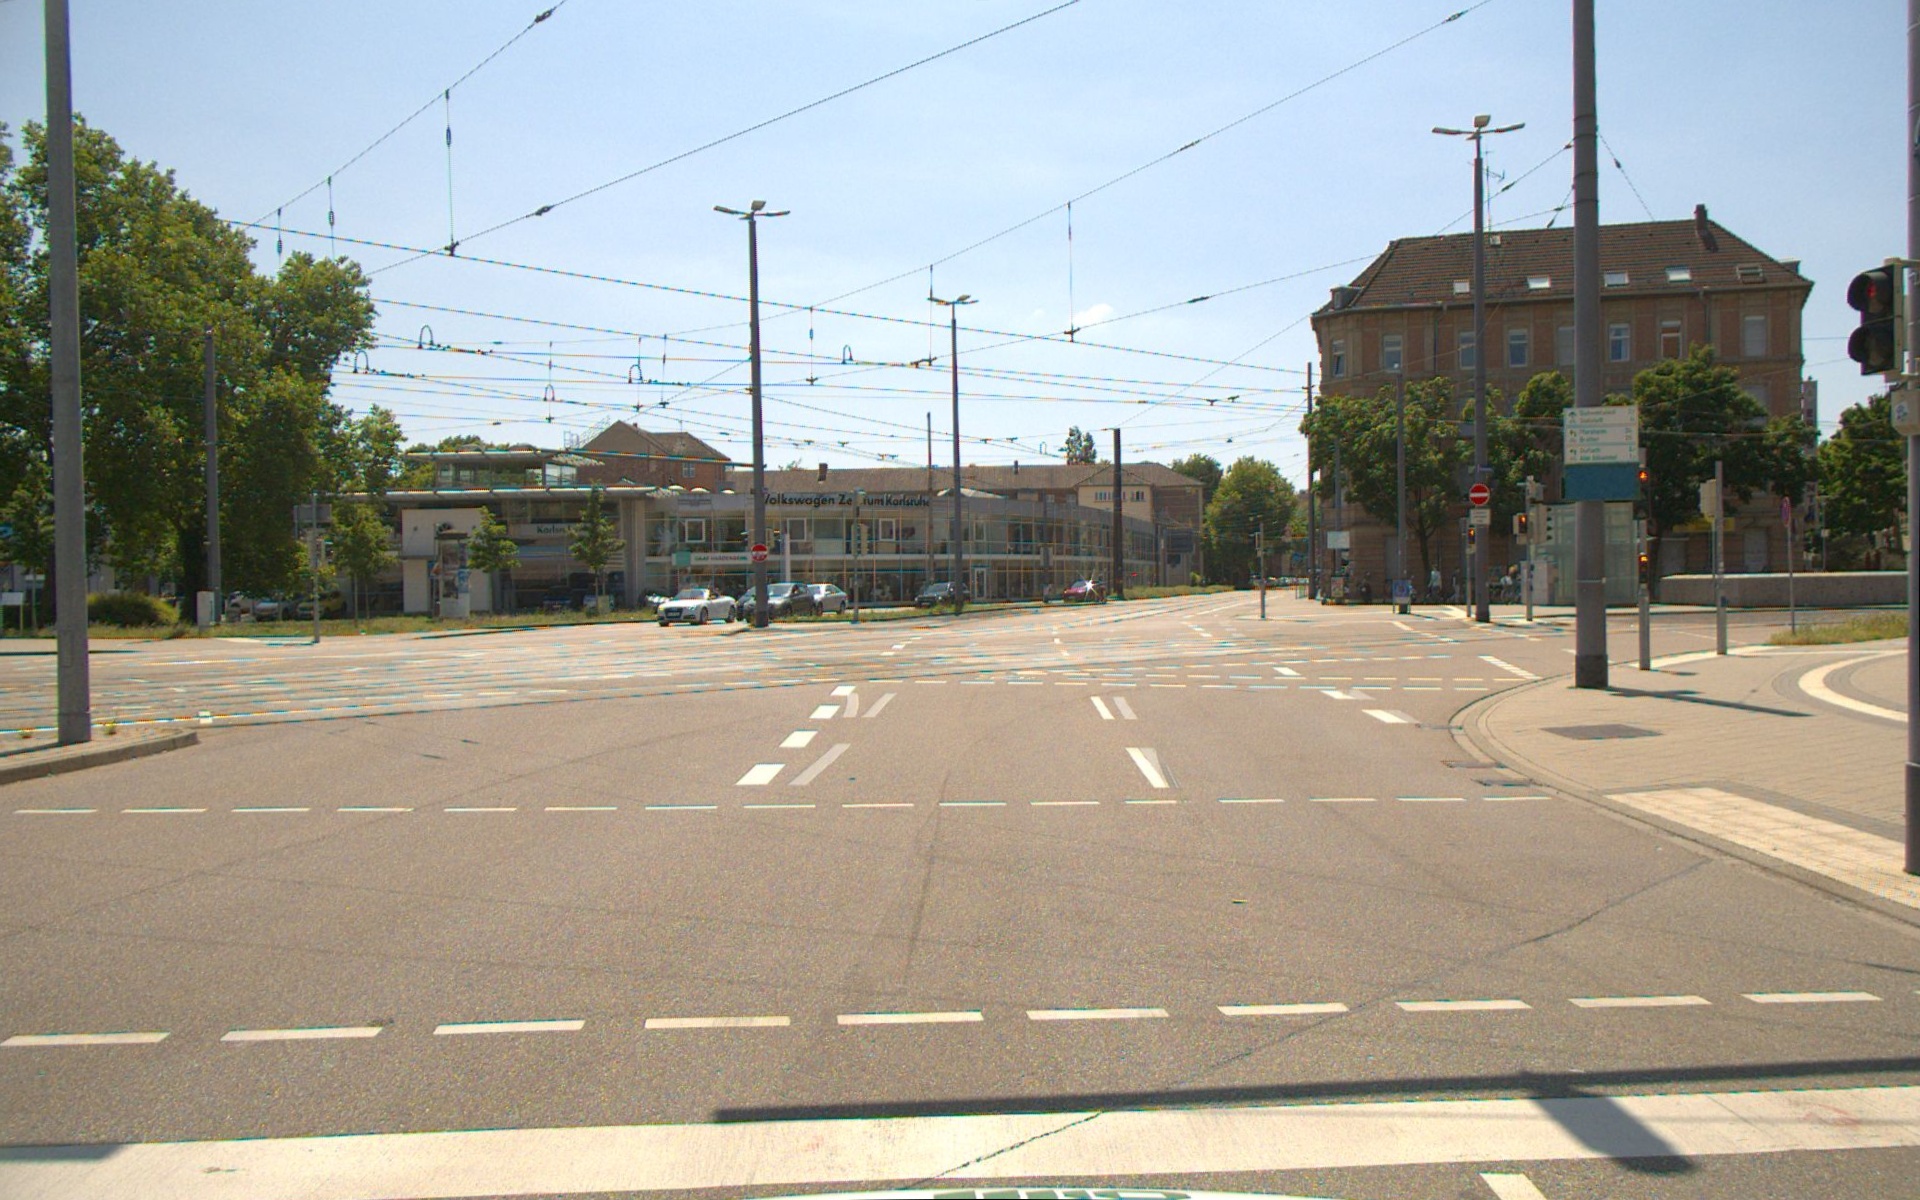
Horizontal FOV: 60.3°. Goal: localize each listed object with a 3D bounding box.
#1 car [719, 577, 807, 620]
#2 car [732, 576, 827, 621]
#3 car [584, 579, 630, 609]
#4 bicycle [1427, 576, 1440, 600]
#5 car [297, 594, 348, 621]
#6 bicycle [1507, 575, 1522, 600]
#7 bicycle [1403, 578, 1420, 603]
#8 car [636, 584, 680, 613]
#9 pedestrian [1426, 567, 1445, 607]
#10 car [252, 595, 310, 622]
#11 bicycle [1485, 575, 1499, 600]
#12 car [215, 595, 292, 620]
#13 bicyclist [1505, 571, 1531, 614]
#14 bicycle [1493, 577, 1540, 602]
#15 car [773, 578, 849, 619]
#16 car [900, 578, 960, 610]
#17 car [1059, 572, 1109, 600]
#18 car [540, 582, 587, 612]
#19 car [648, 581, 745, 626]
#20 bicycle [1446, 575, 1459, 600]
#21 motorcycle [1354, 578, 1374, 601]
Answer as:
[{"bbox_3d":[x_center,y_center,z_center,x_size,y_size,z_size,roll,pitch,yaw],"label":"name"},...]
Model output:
[{"bbox_3d":[-8.322,-0.087,70.263,1.951,1.730,4.850,-1,1,16],"label":"car"},{"bbox_3d":[-6.978,-0.095,64.456,1.951,1.666,4.850,-1,1,16],"label":"car"},{"bbox_3d":[-21.278,-0.334,99.773,1.881,1.737,4.000,1,0,0],"label":"car"},{"bbox_3d":[22.679,-0.596,79.131,0.539,1.139,1.821,-1,0,17],"label":"bicycle"},{"bbox_3d":[-38.766,0.424,100.673,1.732,1.536,4.322,-1,1,-5],"label":"car"},{"bbox_3d":[26.521,-0.602,79.158,0.539,1.139,1.931,-1,0,15],"label":"bicycle"},{"bbox_3d":[21.790,-0.459,79.897,0.433,1.166,2.095,1,0,6],"label":"bicycle"},{"bbox_3d":[-18.216,-0.080,99.925,1.881,1.737,4.000,1,0,0],"label":"car"},{"bbox_3d":[20.666,-0.552,71.931,0.455,1.738,0.635,-1,0,-26],"label":"pedestrian"},{"bbox_3d":[-41.460,0.499,101.134,1.731,1.536,4.327,-1,1,0],"label":"car"},{"bbox_3d":[25.529,-0.606,79.324,0.539,1.139,1.872,-1,0,15],"label":"bicycle"},{"bbox_3d":[-45.487,0.477,106.465,4.279,1.536,1.750,-1,1,-36],"label":"car"},{"bbox_3d":[24.295,-0.336,72.029,1.047,1.839,0.475,1,-1,-26],"label":"bicyclist"},{"bbox_3d":[24.218,-0.464,71.989,2.079,1.071,0.687,-1,0,-26],"label":"bicycle"},{"bbox_3d":[-6.819,-0.096,76.229,1.951,1.770,4.546,-1,1,16],"label":"car"},{"bbox_3d":[-1.644,-0.340,93.071,2.034,1.712,4.850,-1,1,16],"label":"car"},{"bbox_3d":[8.412,-0.910,111.804,1.955,1.807,3.995,1,0,27],"label":"car"},{"bbox_3d":[-23.882,-0.178,99.698,1.881,1.737,4.000,1,0,0],"label":"car"},{"bbox_3d":[-10.158,0.108,64.096,2.032,1.607,4.850,-1,1,13],"label":"car"},{"bbox_3d":[23.463,-0.603,78.812,0.539,1.139,1.822,-1,0,15],"label":"bicycle"},{"bbox_3d":[19.378,-0.525,79.435,0.568,1.093,1.947,-1,0,3],"label":"motorcycle"}]
